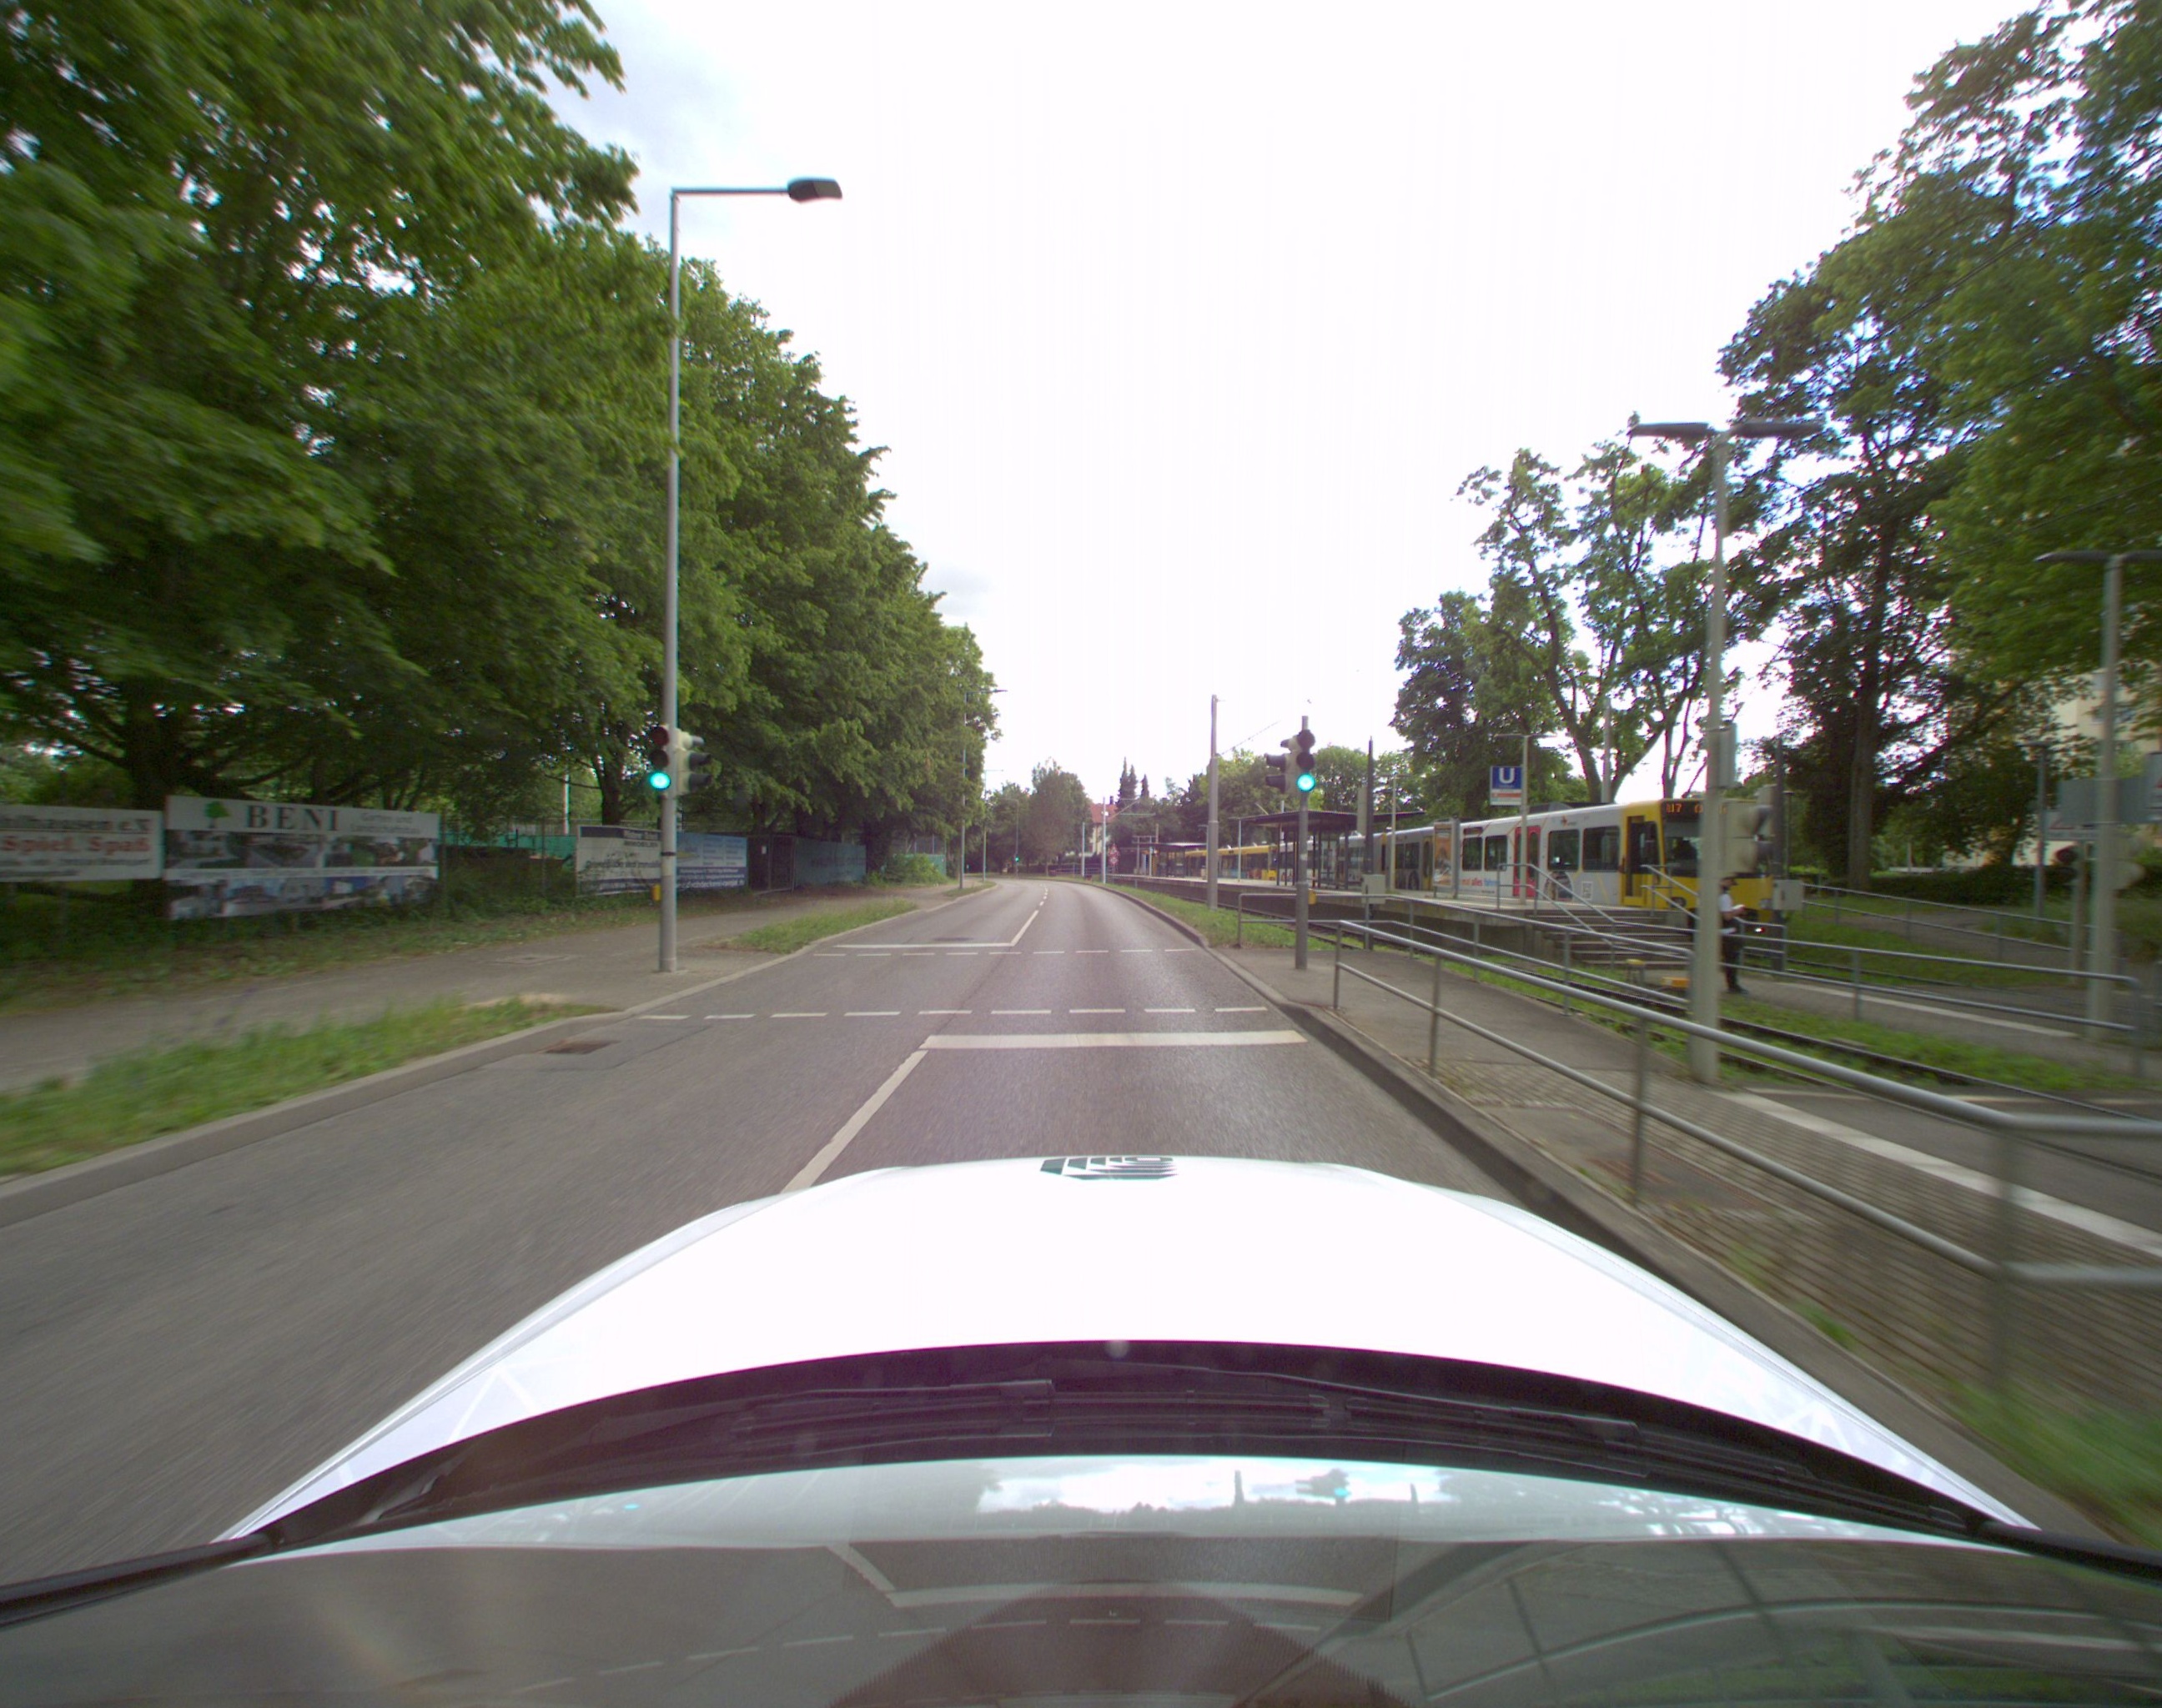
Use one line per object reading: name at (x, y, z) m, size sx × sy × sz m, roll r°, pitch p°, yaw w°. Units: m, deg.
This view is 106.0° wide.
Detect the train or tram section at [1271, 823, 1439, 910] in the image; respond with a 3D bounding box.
train or tram section at (14.489, 0.703, 45.876) m, size 2.805 × 3.799 × 18.923 m, roll 2°, pitch -1°, yaw -1°

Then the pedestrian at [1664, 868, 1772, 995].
pedestrian at (9.191, 1.101, 11.776) m, size 0.983 × 1.758 × 0.727 m, roll 2°, pitch 0°, yaw -8°

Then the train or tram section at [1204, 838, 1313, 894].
train or tram section at (13.435, 0.934, 64.597) m, size 2.809 × 3.737 × 19.478 m, roll 2°, pitch -1°, yaw -5°

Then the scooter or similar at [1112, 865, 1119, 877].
scooter or similar at (3.881, 1.924, 92.595) m, size 0.430 × 1.253 × 1.248 m, roll 0°, pitch -3°, yaw -14°

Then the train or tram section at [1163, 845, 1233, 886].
train or tram section at (11.691, 1.175, 84.105) m, size 2.809 × 3.589 × 19.478 m, roll 2°, pitch -1°, yaw -5°

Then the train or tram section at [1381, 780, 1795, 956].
train or tram section at (14.403, 0.445, 26.925) m, size 2.802 × 3.737 × 18.540 m, roll 1°, pitch -1°, yaw 2°

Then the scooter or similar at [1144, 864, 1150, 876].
scooter or similar at (6.697, 1.619, 82.895) m, size 0.368 × 1.242 × 1.143 m, roll 0°, pitch -1°, yaw -6°
